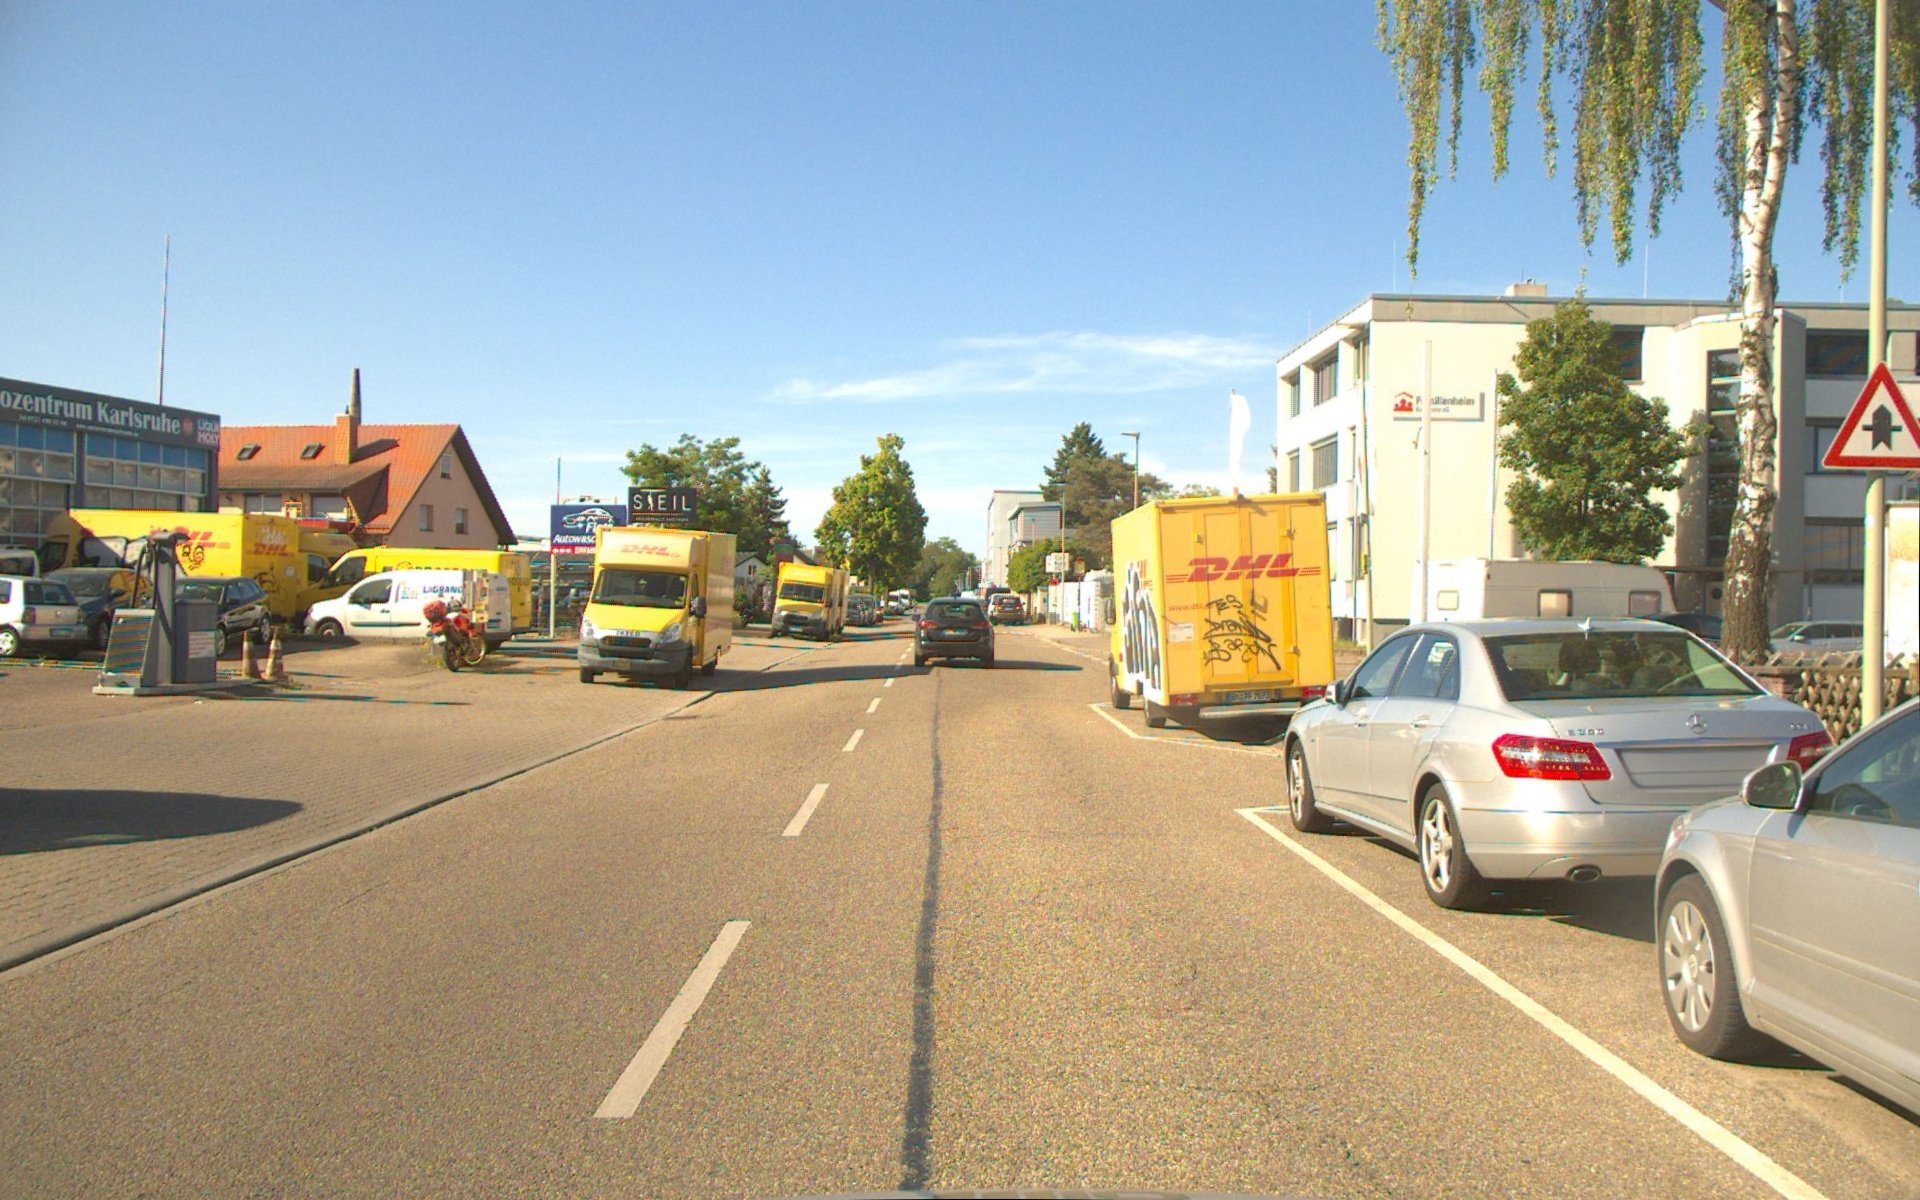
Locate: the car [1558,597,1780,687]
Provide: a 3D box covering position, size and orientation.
[{"bbox_3d":[13.726,0.778,32.013,3.935,1.646,1.797,1,0,-24],"label":"car"}]

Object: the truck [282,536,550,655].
[{"bbox_3d":[-13.294,-0.129,40.549,5.795,2.612,2.225,2,0,11],"label":"truck"}]

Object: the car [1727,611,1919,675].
[{"bbox_3d":[23.478,1.154,44.967,4.418,1.646,1.800,1,0,-1],"label":"car"}]

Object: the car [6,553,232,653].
[{"bbox_3d":[-16.972,0.077,33.618,1.951,1.847,4.003,2,0,12],"label":"car"}]

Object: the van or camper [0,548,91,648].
[{"bbox_3d":[-20.528,-0.053,35.228,1.822,2.049,4.001,1,0,1],"label":"van or camper"}]

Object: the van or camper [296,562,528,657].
[{"bbox_3d":[-12.399,0.194,37.614,4.447,2.049,2.252,1,0,6],"label":"van or camper"}]

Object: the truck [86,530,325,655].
[{"bbox_3d":[-19.046,-0.202,41.840,5.220,3.024,2.175,1,0,12],"label":"truck"}]

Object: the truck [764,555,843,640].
[{"bbox_3d":[-5.974,-0.097,64.002,2.354,3.035,6.373,2,0,0],"label":"truck"}]

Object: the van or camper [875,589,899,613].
[{"bbox_3d":[-7.702,0.131,173.325,2.277,2.403,6.522,1,0,-4],"label":"van or camper"}]

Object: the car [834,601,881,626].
[{"bbox_3d":[-6.794,0.880,109.570,1.851,1.511,4.013,-1,1,-24],"label":"car"}]

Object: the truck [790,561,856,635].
[{"bbox_3d":[-5.855,-0.091,71.541,2.148,2.952,6.439,3,0,1],"label":"truck"}]

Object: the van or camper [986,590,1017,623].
[{"bbox_3d":[2.715,0.407,107.975,1.880,2.055,4.079,1,0,0],"label":"van or camper"}]

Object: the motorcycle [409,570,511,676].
[{"bbox_3d":[-9.636,0.402,32.010,0.765,1.905,3.042,4,1,4],"label":"motorcycle"}]

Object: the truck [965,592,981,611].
[{"bbox_3d":[1.588,0.196,207.597,1.953,2.328,6.954,1,0,0],"label":"truck"}]

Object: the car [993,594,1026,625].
[{"bbox_3d":[3.071,0.565,102.679,1.880,1.857,4.079,1,0,0],"label":"car"}]

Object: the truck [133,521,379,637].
[{"bbox_3d":[-19.071,-0.582,44.886,5.961,3.024,2.175,1,0,12],"label":"truck"}]

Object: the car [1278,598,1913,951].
[{"bbox_3d":[3.323,0.790,9.744,1.748,1.569,4.534,1,0,-4],"label":"car"}]

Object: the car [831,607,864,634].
[{"bbox_3d":[-6.271,1.110,92.614,1.721,1.428,4.555,1,0,-2],"label":"car"}]

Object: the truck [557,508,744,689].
[{"bbox_3d":[-5.853,-0.026,32.372,2.354,3.035,7.243,2,0,-2],"label":"truck"}]

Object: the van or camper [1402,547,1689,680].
[{"bbox_3d":[12.231,0.286,34.508,5.739,2.586,2.272,1,0,-25],"label":"van or camper"}]

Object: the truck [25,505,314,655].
[{"bbox_3d":[-18.369,-0.465,38.566,5.548,3.174,2.525,2,0,11],"label":"truck"}]

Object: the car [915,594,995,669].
[{"bbox_3d":[-0.085,0.661,36.629,1.676,1.559,3.688,0,0,1],"label":"car"}]

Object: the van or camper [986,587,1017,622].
[{"bbox_3d":[2.834,0.309,113.486,1.953,2.351,4.000,1,0,0],"label":"van or camper"}]

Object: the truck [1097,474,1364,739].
[{"bbox_3d":[3.397,0.083,22.531,2.354,2.988,7.015,-2,0,-1],"label":"truck"}]

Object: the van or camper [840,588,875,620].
[{"bbox_3d":[-6.306,0.276,102.368,1.852,1.959,4.266,0,-1,0],"label":"van or camper"}]

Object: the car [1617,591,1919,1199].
[{"bbox_3d":[3.310,0.778,4.447,1.639,1.569,4.044,1,0,3],"label":"car"}]

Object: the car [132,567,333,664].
[{"bbox_3d":[-14.597,0.253,33.467,1.825,1.589,4.218,1,4,7],"label":"car"}]

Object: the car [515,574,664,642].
[{"bbox_3d":[-11.589,0.231,51.853,4.157,2.049,1.870,1,0,8],"label":"car"}]

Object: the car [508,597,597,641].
[{"bbox_3d":[-15.596,0.702,63.552,1.658,1.606,4.048,1,1,13],"label":"car"}]

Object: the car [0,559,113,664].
[{"bbox_3d":[-17.968,0.188,30.486,3.903,1.847,2.001,1,0,17],"label":"car"}]
